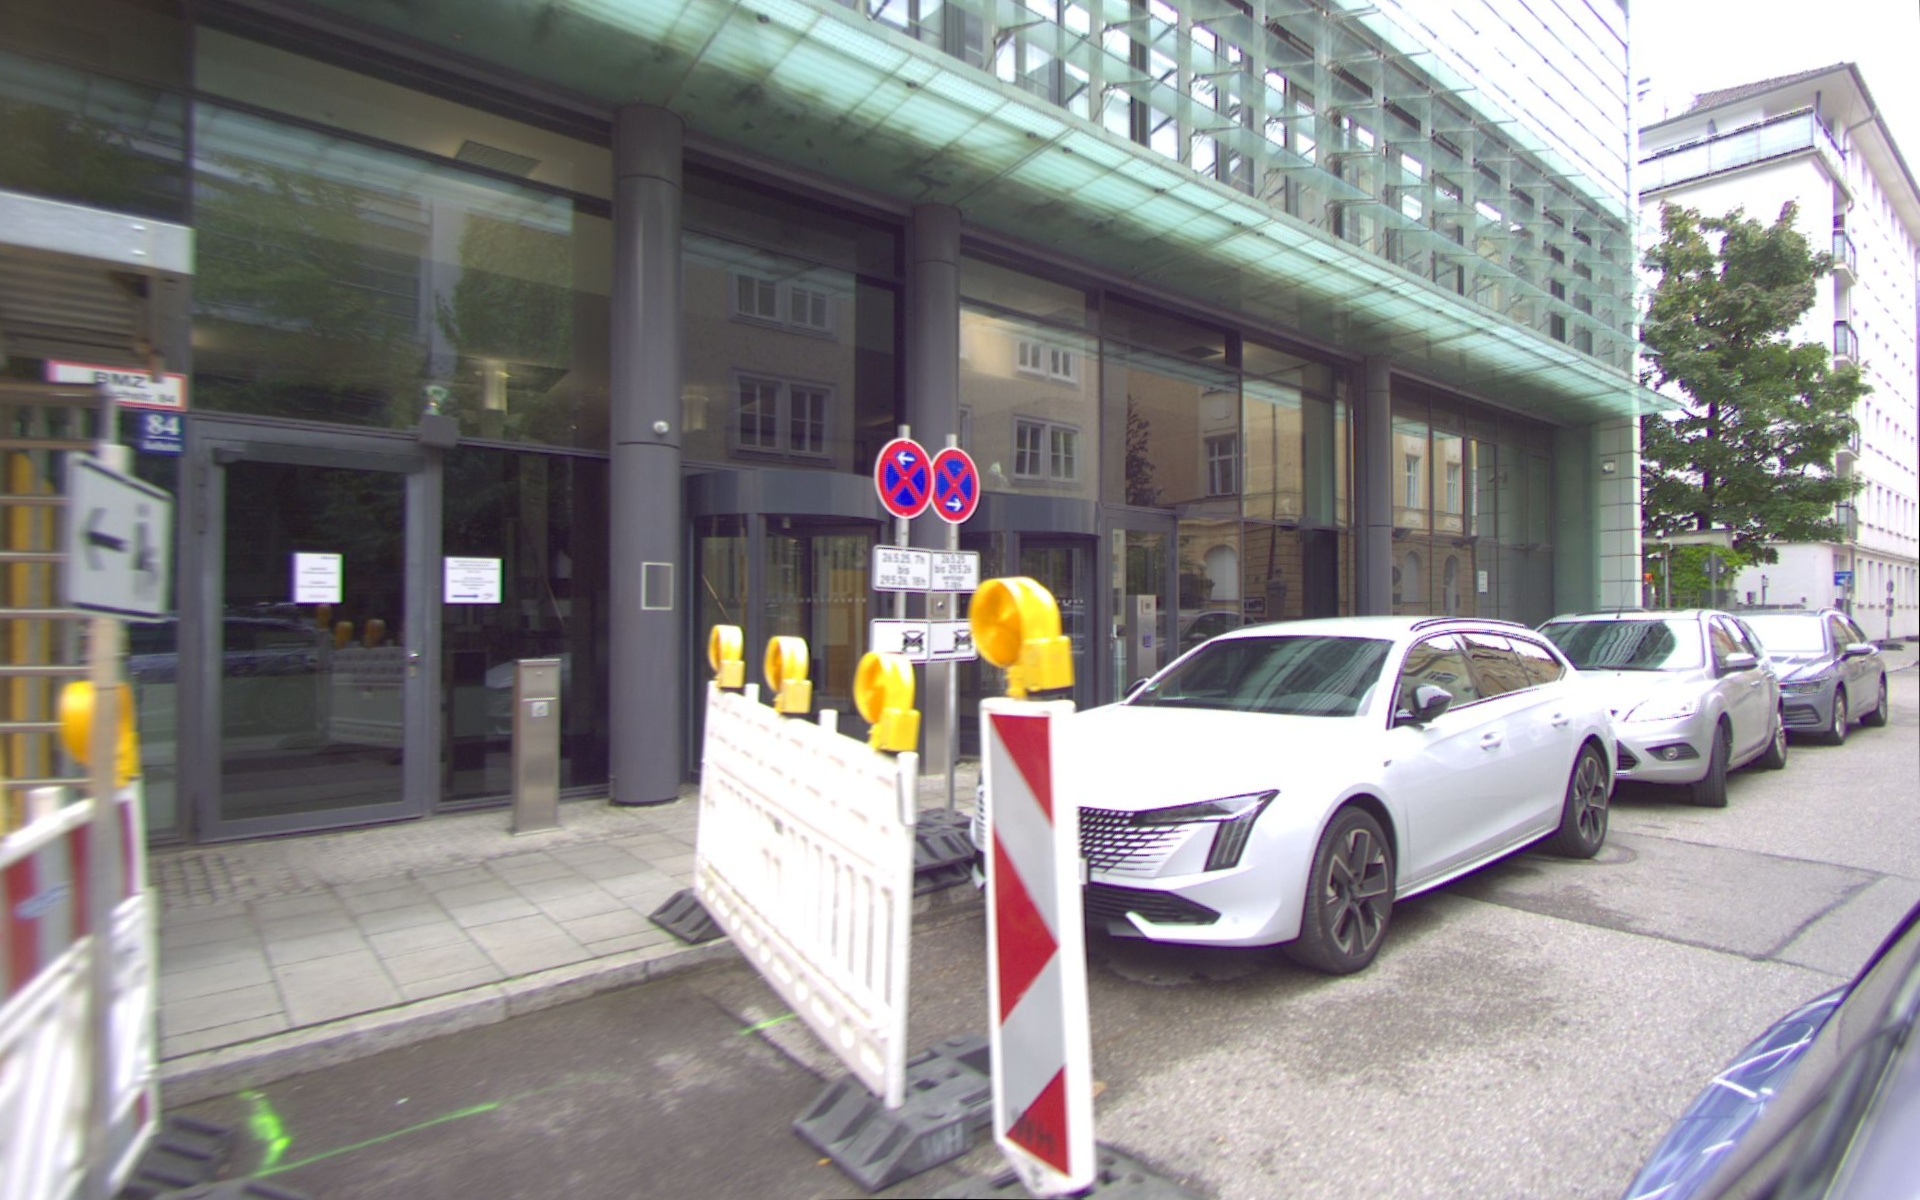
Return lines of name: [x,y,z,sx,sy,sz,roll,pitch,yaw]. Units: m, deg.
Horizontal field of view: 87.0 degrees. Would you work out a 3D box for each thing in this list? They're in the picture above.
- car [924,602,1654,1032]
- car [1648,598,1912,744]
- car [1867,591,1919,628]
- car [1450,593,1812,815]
car: [2.077,0.771,5.546,4.430,1.432,1.710,0,-2,-41]
car: [9.897,0.715,12.097,4.253,1.451,1.710,0,-1,-41]
car: [51.046,0.503,53.185,1.895,1.915,4.686,1,-1,-31]
car: [6.001,0.726,8.841,4.166,1.486,1.708,0,-2,-44]
